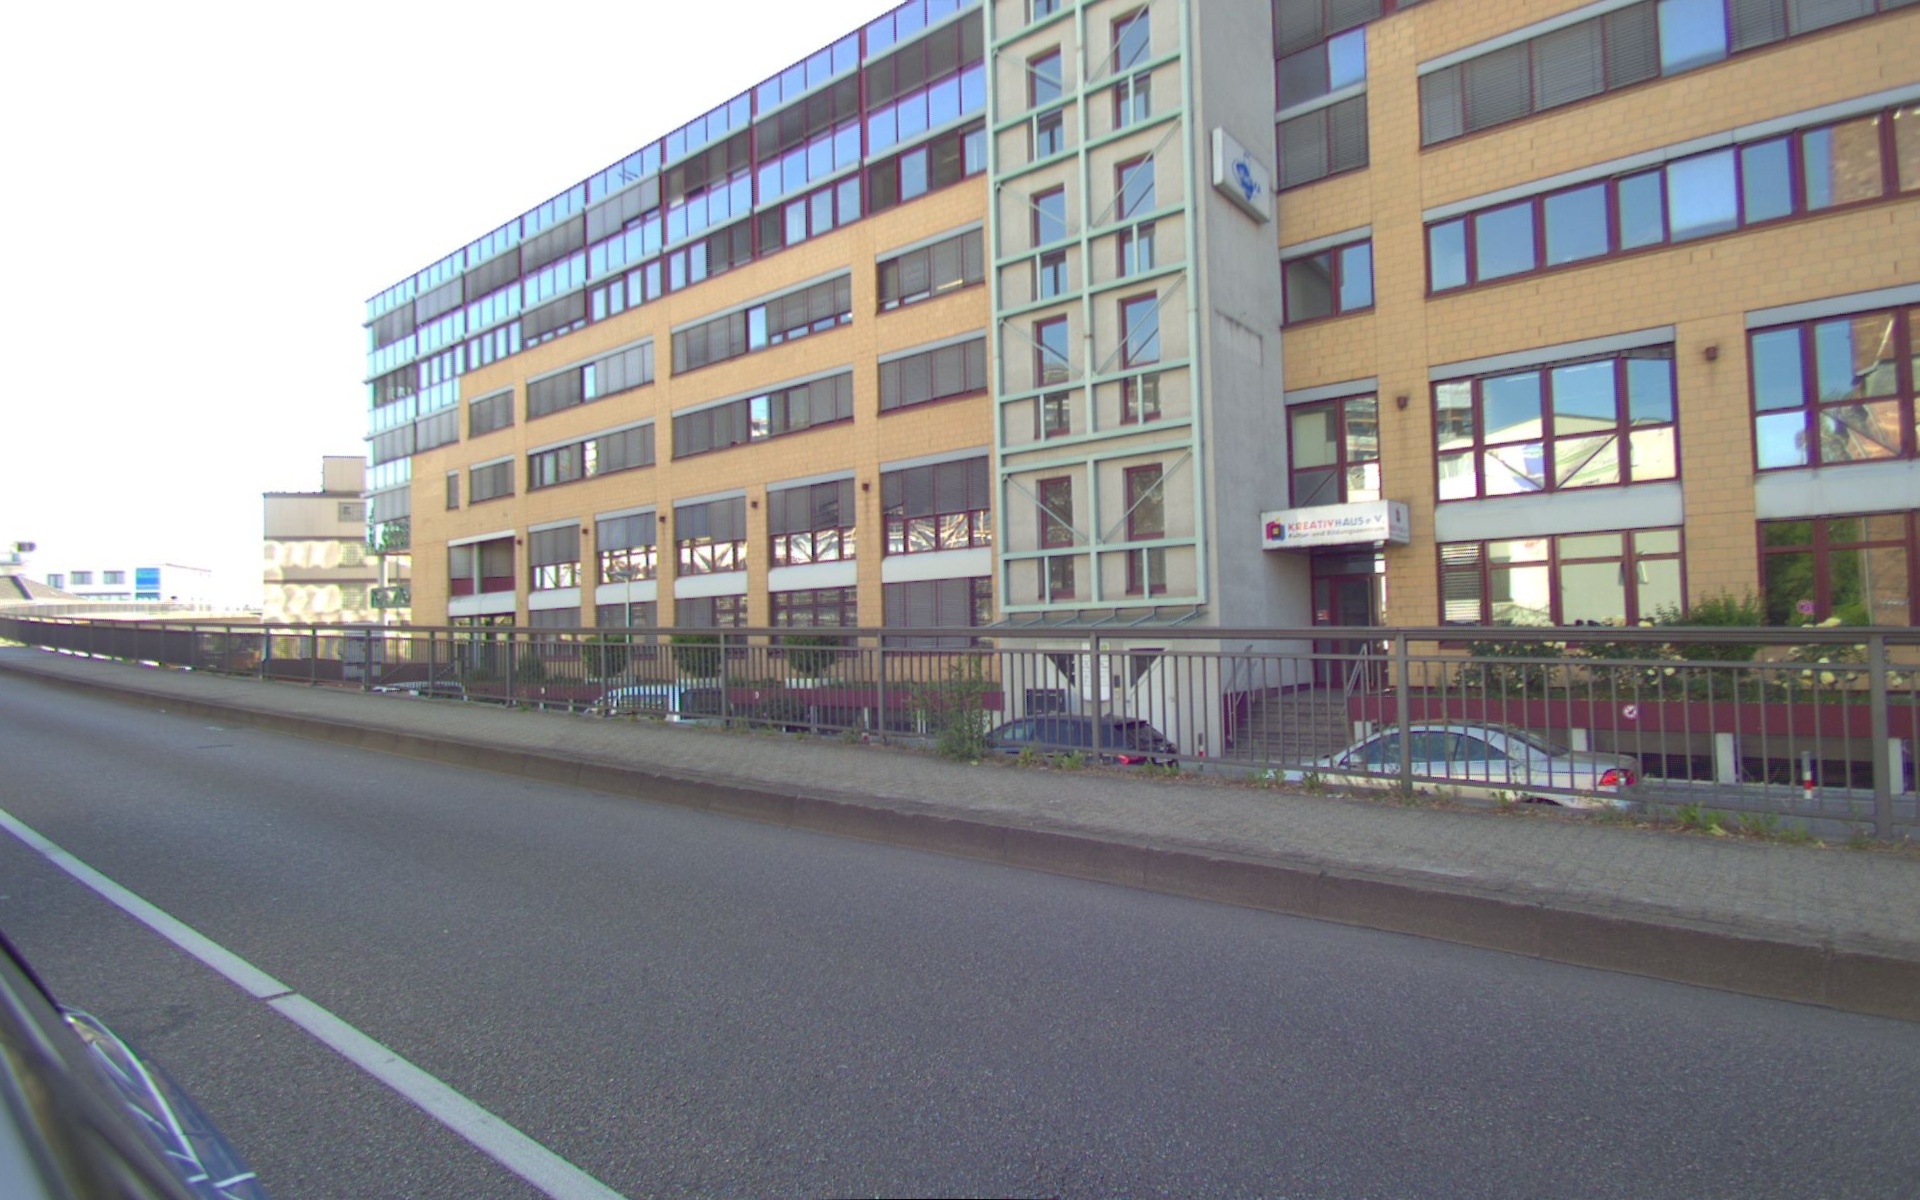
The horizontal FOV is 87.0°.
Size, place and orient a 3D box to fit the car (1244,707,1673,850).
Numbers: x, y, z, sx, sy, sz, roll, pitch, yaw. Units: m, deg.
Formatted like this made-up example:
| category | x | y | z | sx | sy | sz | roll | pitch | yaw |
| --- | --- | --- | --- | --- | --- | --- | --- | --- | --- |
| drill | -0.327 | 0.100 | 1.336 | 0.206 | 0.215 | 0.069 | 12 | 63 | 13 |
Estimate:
| category | x | y | z | sx | sy | sz | roll | pitch | yaw |
| --- | --- | --- | --- | --- | --- | --- | --- | --- | --- |
| car | 5.722 | 1.962 | 11.923 | 4.253 | 1.175 | 1.704 | -3 | -4 | 39 |

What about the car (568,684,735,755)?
| category | x | y | z | sx | sy | sz | roll | pitch | yaw |
| --- | --- | --- | --- | --- | --- | --- | --- | --- | --- |
| car | -6.662 | 2.507 | 21.708 | 3.804 | 1.279 | 1.560 | -3 | -4 | 39 |

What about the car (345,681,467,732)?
| category | x | y | z | sx | sy | sz | roll | pitch | yaw |
| --- | --- | --- | --- | --- | --- | --- | --- | --- | --- |
| car | -15.967 | 3.013 | 29.105 | 3.804 | 1.279 | 1.744 | -3 | -4 | 39 |

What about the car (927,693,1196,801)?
| category | x | y | z | sx | sy | sz | roll | pitch | yaw |
| --- | --- | --- | --- | --- | --- | --- | --- | --- | --- |
| car | 1.440 | 2.113 | 15.210 | 3.804 | 1.279 | 1.560 | -3 | -4 | 39 |
